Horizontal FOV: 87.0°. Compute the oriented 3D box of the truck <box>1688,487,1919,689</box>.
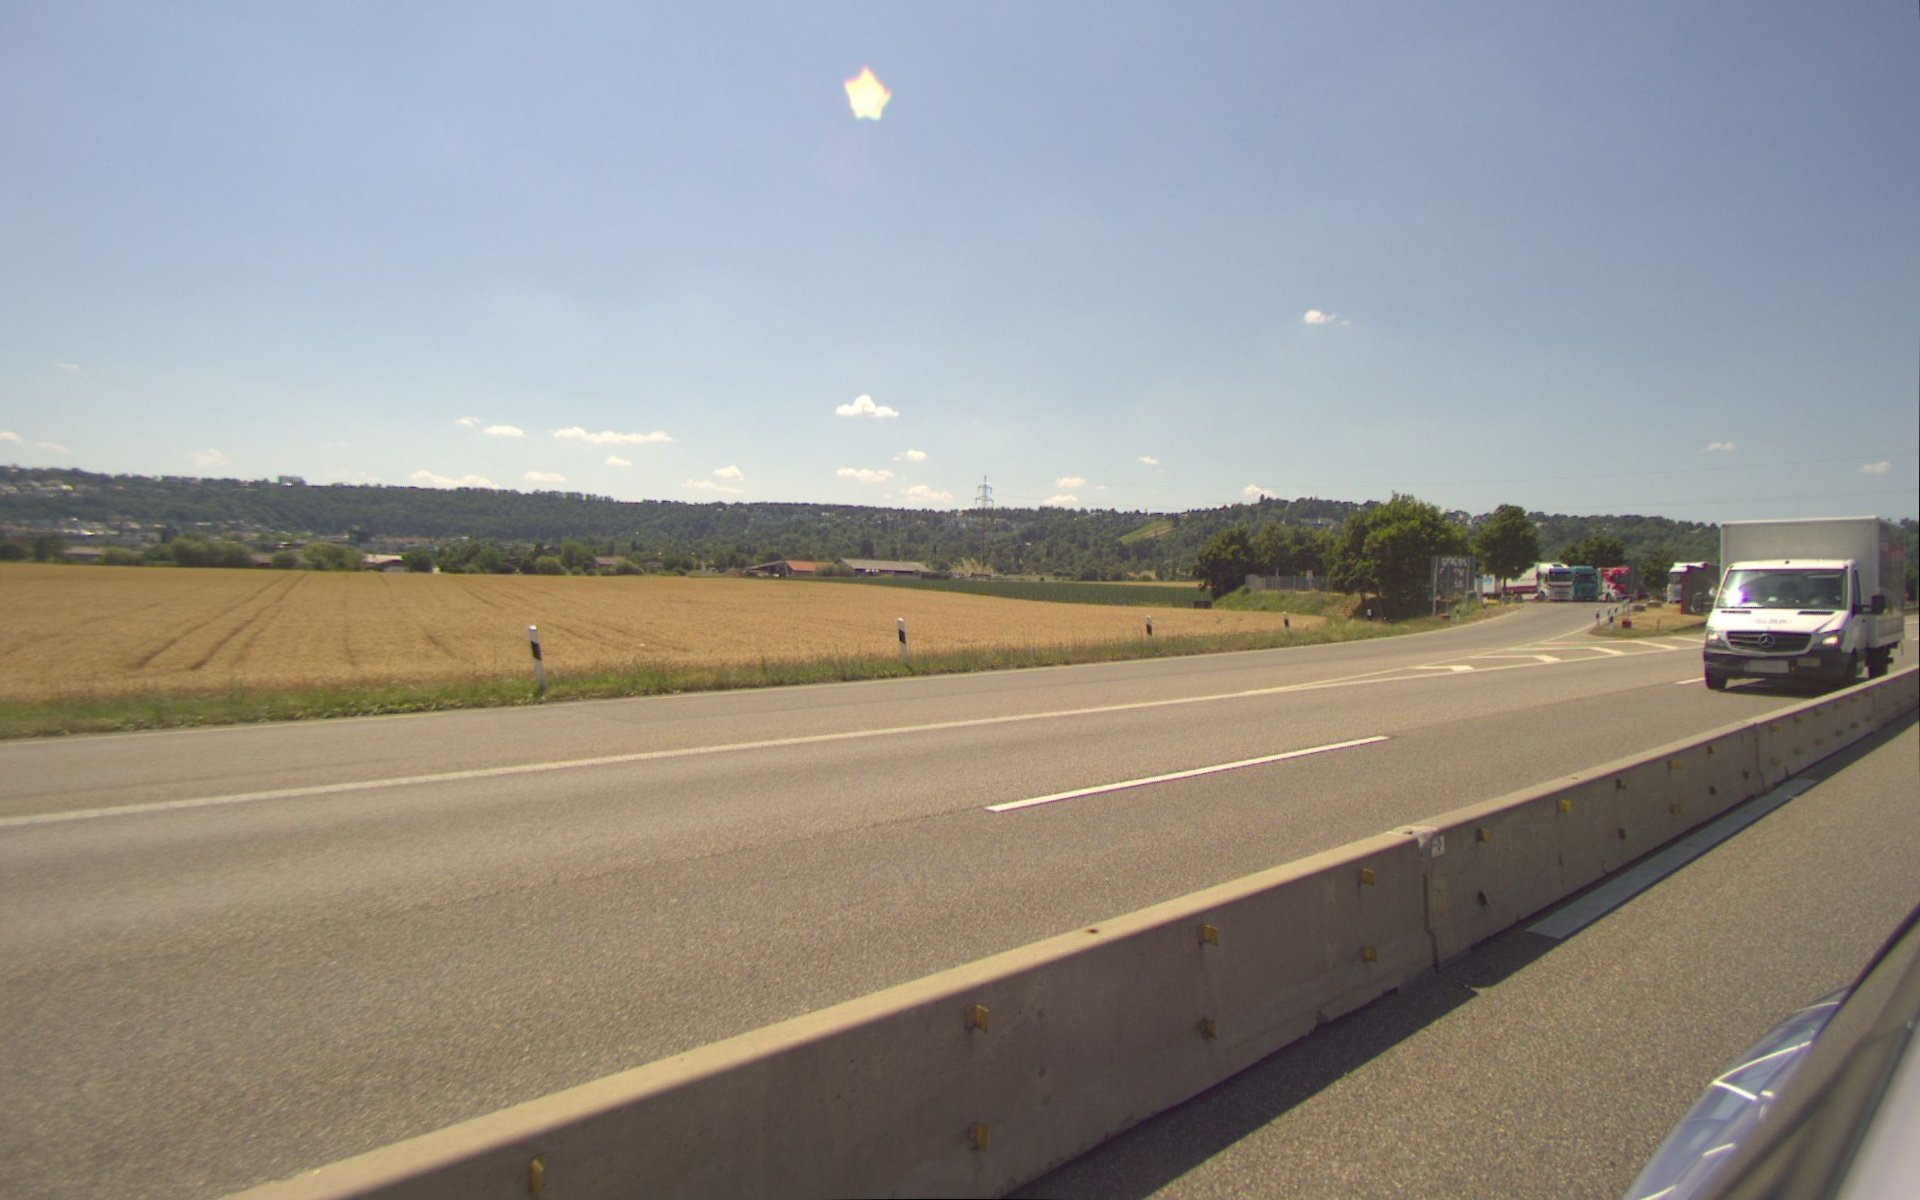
[{"bbox_3d":[15.732,-0.143,18.626,6.632,3.107,2.325,1,-1,-41],"label":"truck"}]
